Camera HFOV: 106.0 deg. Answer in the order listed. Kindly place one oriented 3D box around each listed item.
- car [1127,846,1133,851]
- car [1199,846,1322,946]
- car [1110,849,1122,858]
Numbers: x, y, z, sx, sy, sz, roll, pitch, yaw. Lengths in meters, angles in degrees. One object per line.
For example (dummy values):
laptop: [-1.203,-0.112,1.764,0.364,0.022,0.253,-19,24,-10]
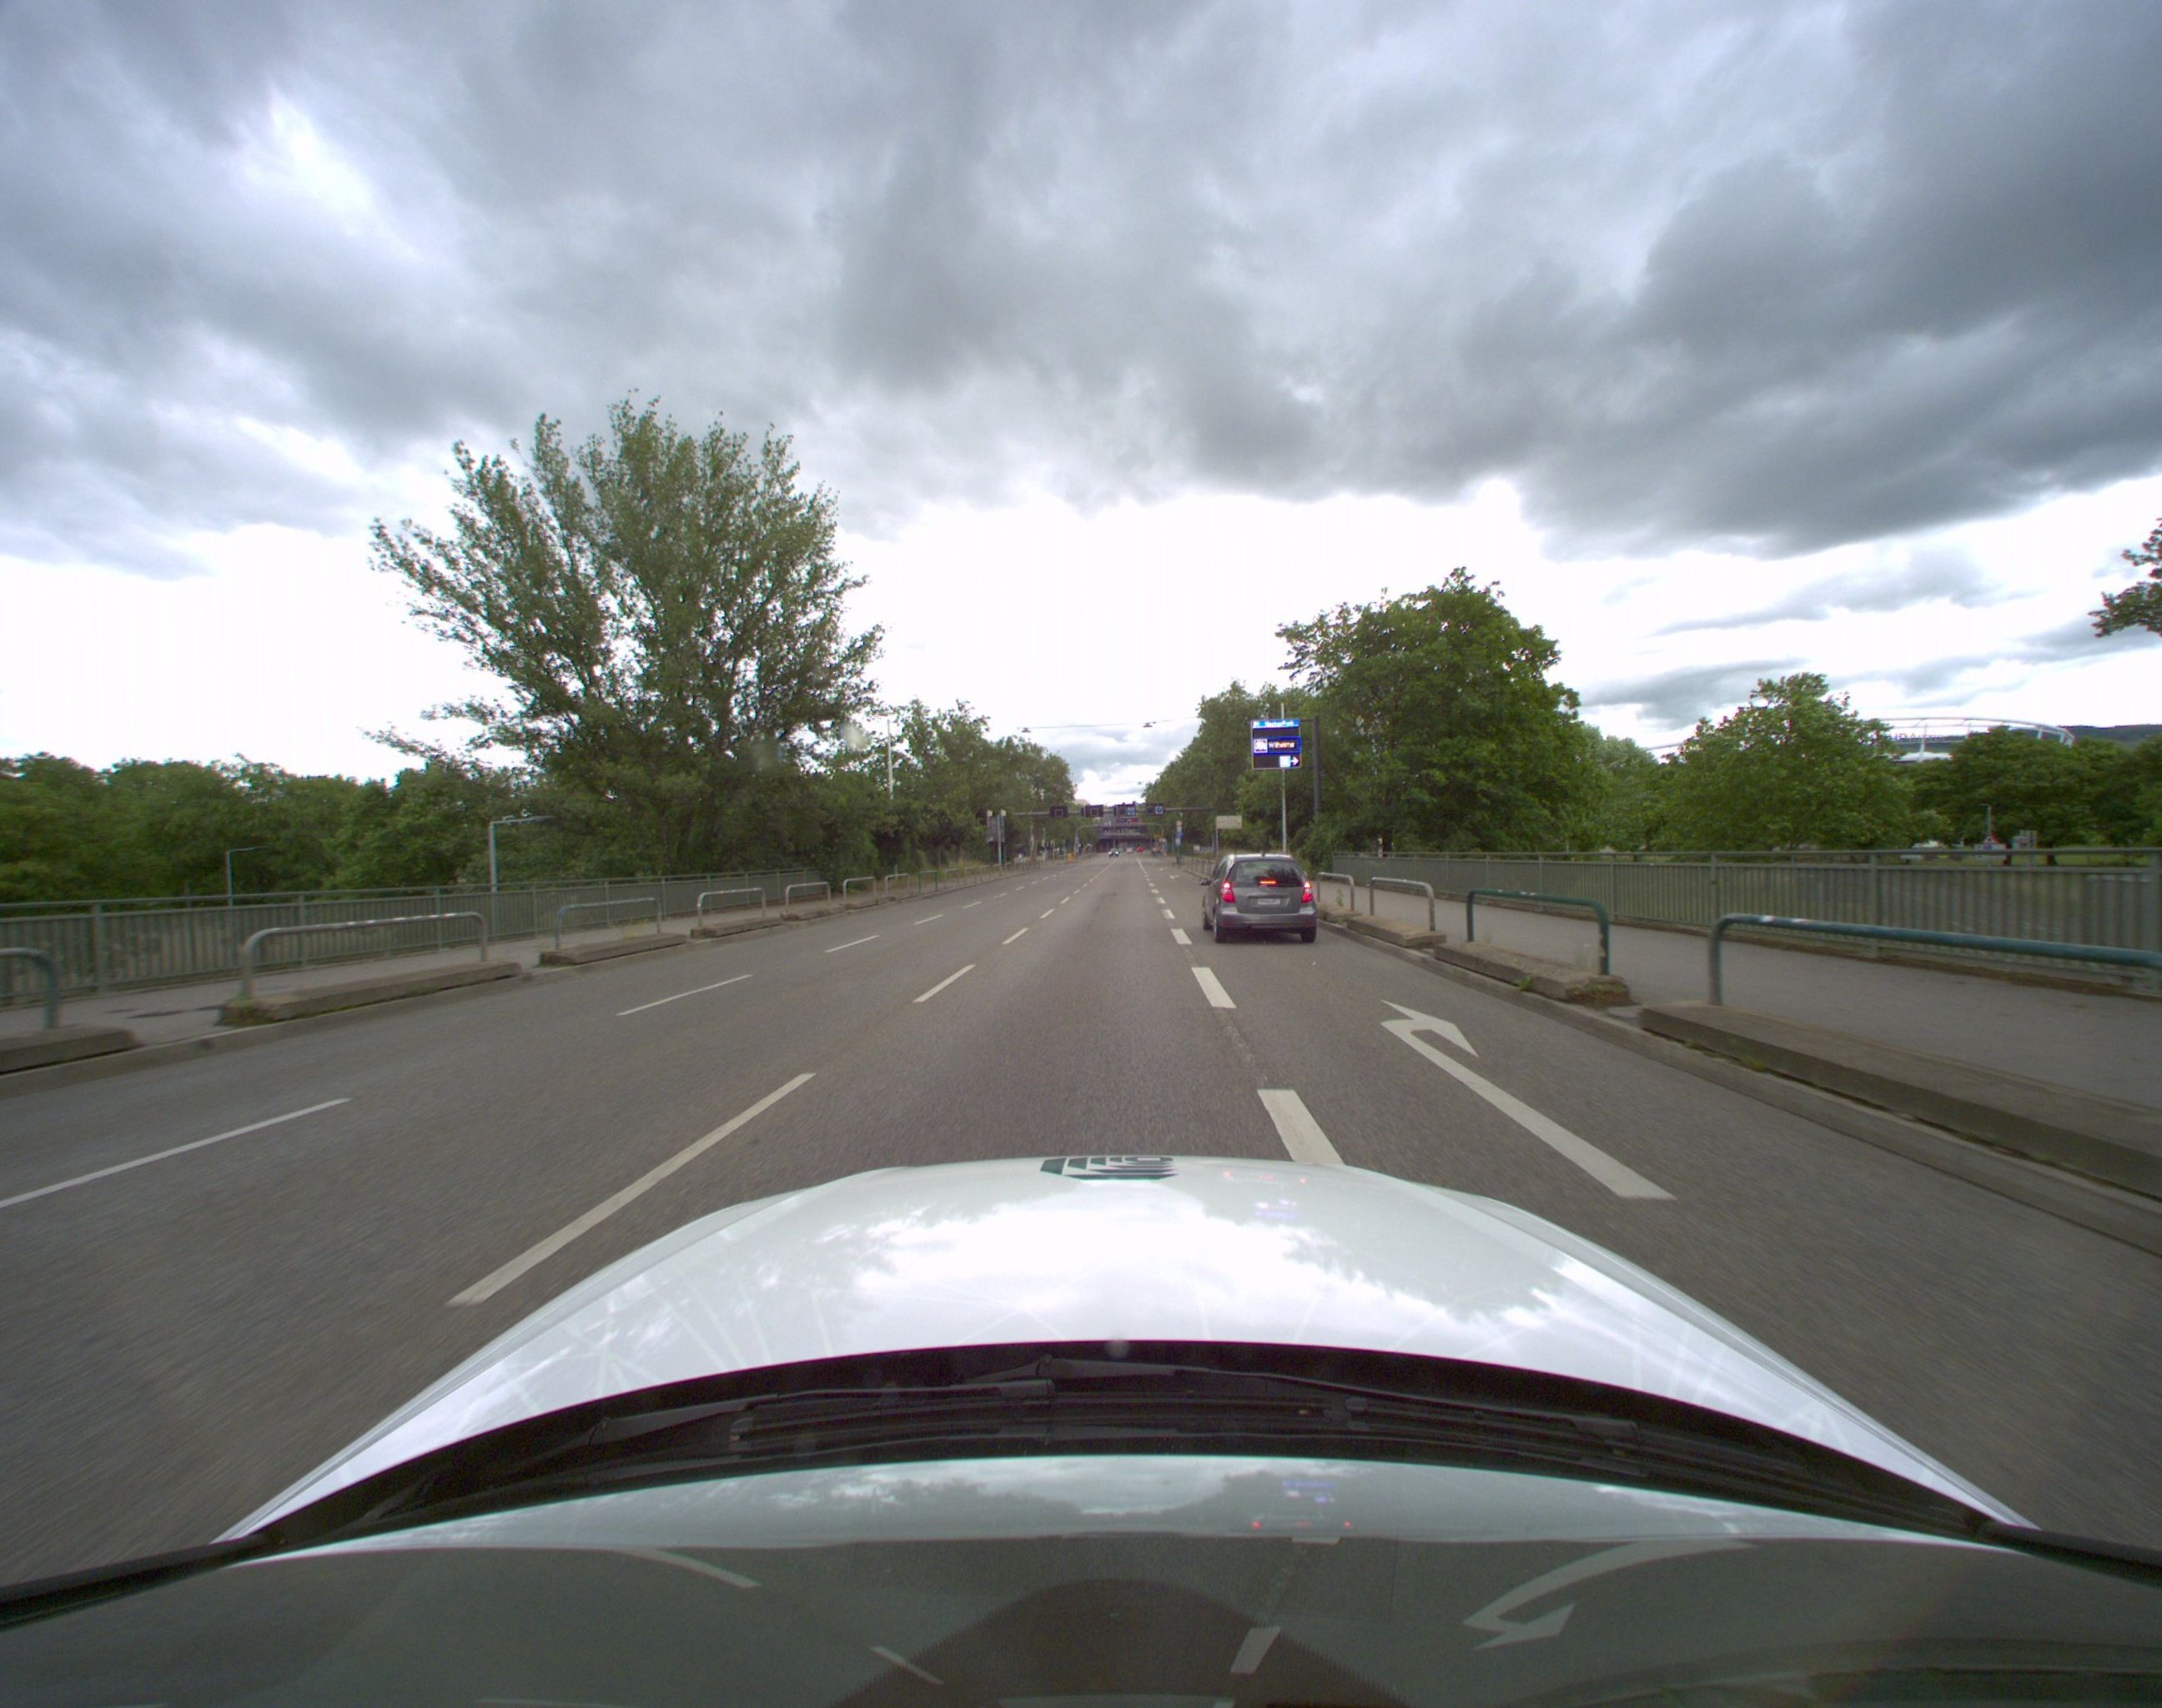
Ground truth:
car: [15.731,-1.732,259.675,1.770,1.460,3.827,0,0,5]
car: [3.245,0.693,15.457,1.817,1.616,4.041,-1,0,6]
car: [7.149,-0.145,165.449,1.983,1.660,4.526,-3,0,7]
